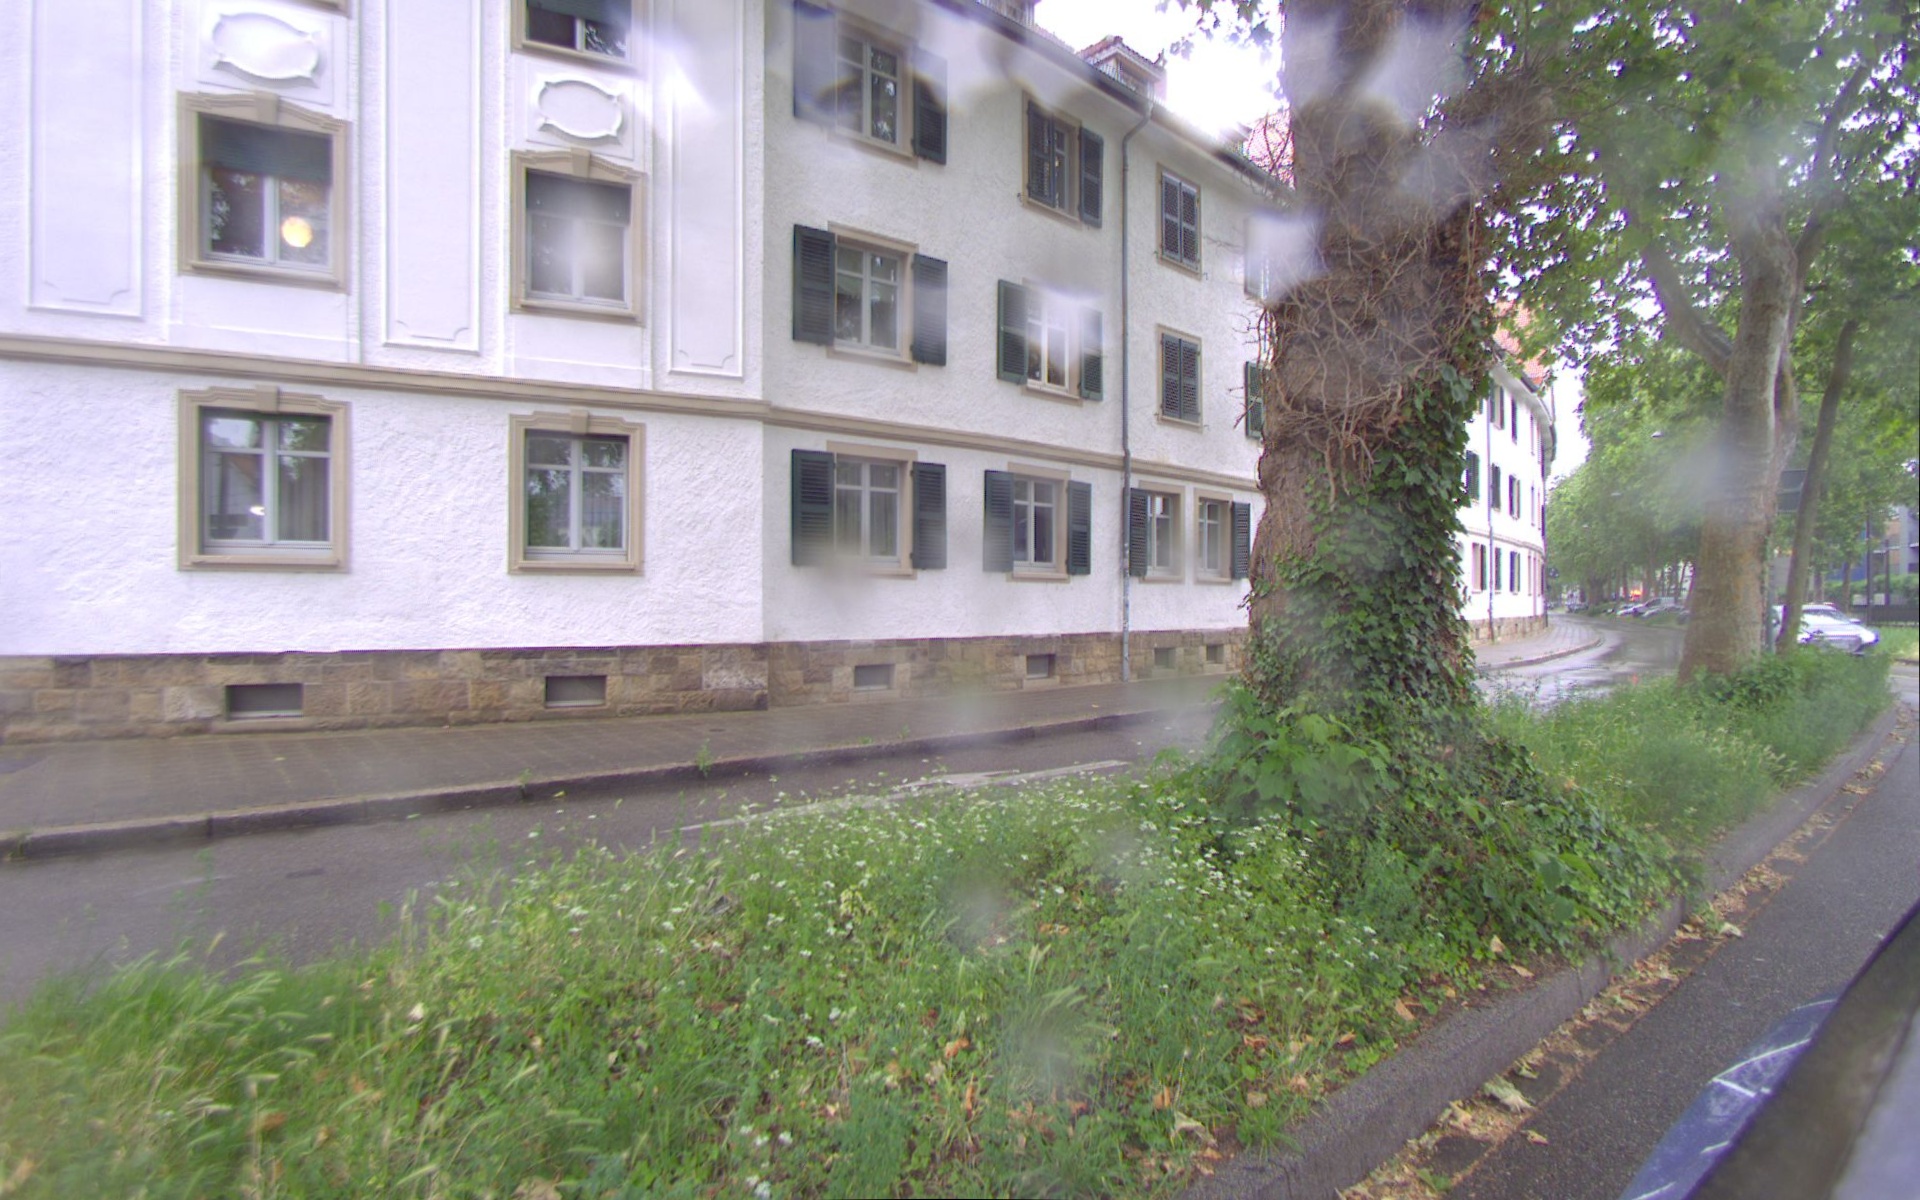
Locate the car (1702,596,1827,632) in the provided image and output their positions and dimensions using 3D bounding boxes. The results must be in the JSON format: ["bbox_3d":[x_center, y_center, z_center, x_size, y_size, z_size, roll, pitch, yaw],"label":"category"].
[{"bbox_3d":[38.152,0.631,48.087,1.892,1.560,4.236,1,1,-30],"label":"car"}]

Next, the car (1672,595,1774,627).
[{"bbox_3d":[43.547,0.608,57.846,1.715,1.632,4.335,1,1,-35],"label":"car"}]

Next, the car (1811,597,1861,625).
[{"bbox_3d":[57.779,0.692,66.804,1.677,1.745,3.656,2,1,28],"label":"car"}]

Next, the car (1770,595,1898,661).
[{"bbox_3d":[23.529,0.693,27.420,1.836,1.616,4.172,0,0,30],"label":"car"}]

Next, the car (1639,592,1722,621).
[{"bbox_3d":[56.594,0.485,79.587,1.960,2.039,4.899,1,1,-30],"label":"car"}]
